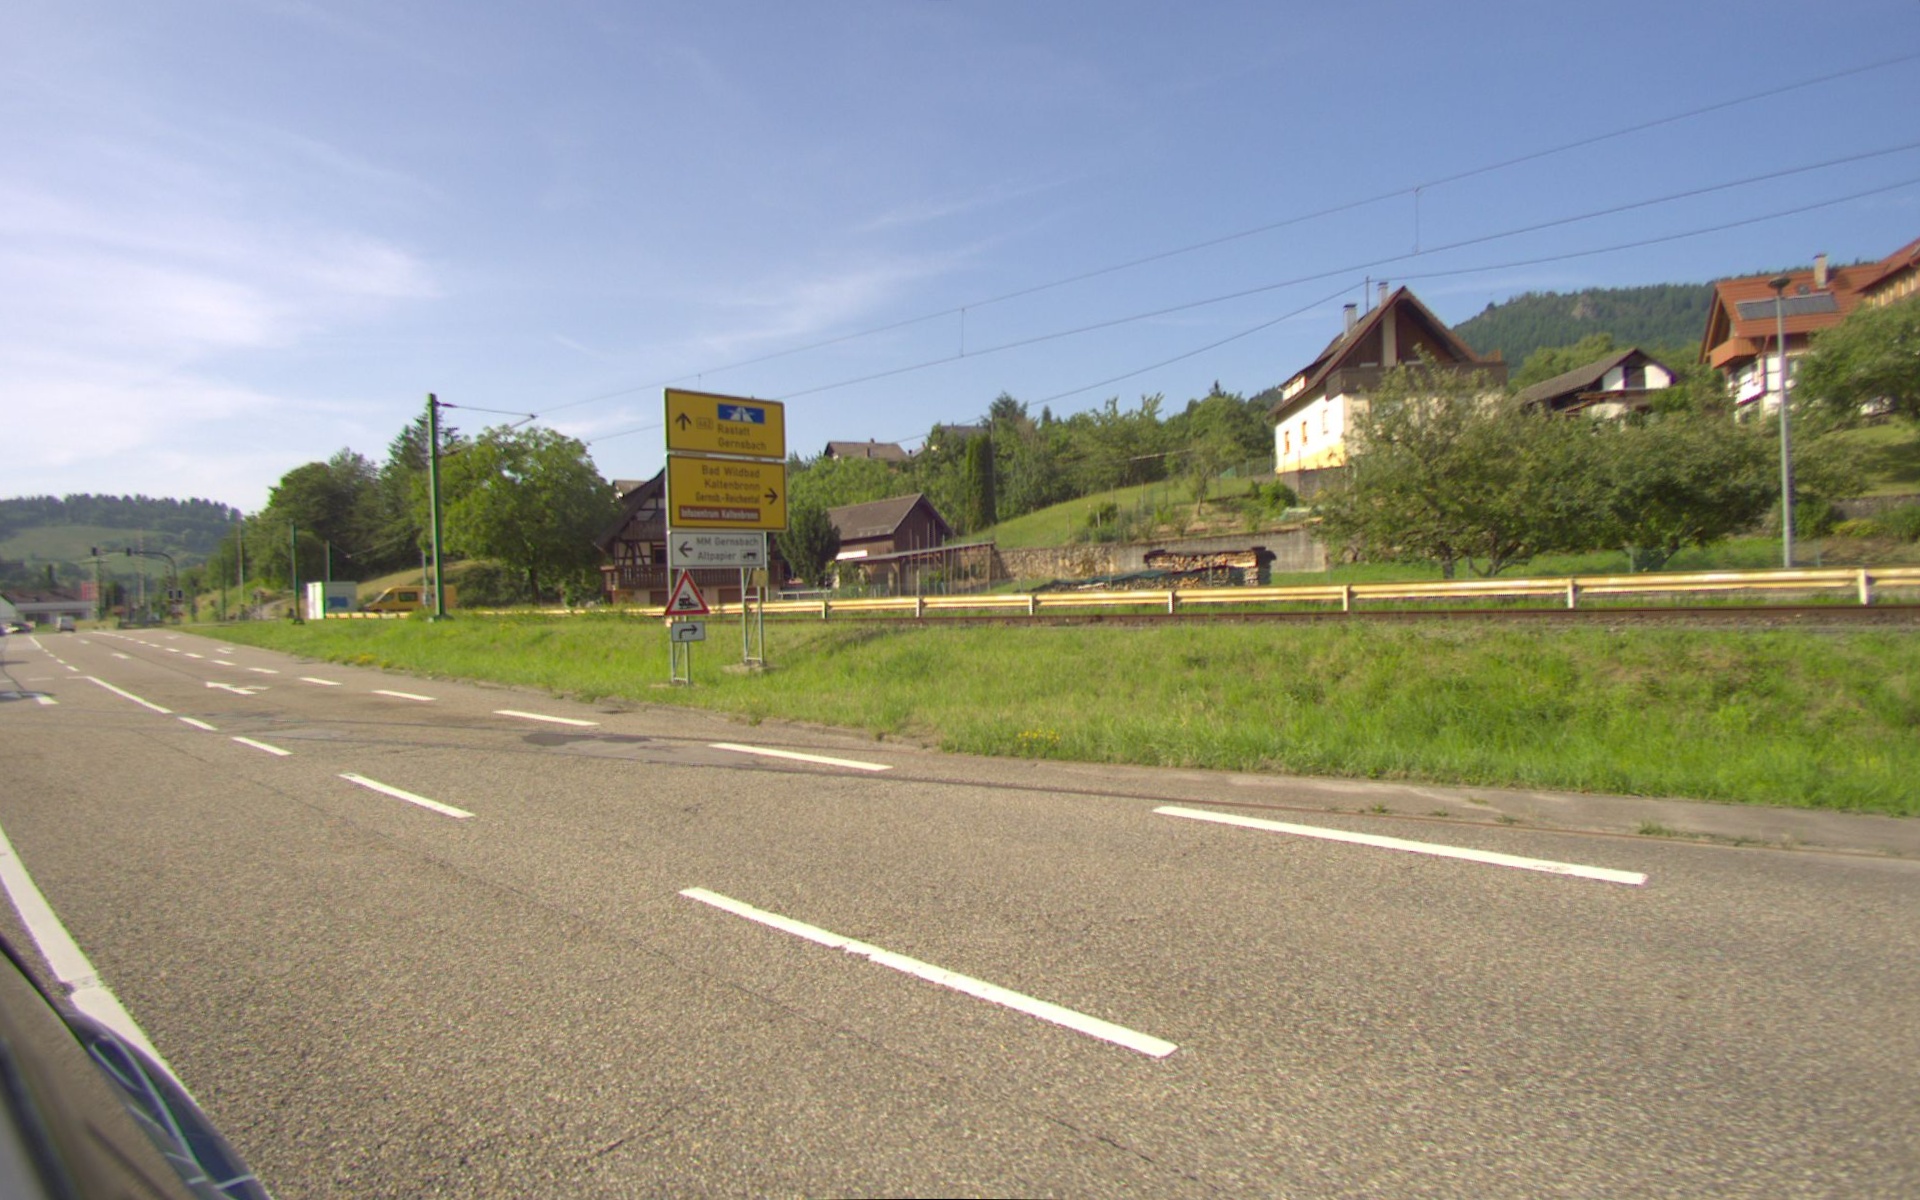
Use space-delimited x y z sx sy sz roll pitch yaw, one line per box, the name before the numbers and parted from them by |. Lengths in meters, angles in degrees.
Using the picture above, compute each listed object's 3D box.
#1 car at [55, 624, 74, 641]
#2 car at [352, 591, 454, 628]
car | -138.445 5.047 156.476 2.094 2.454 5.234 -4 0 -42
car | -45.276 0.747 82.272 6.969 2.475 2.956 -4 0 -33
